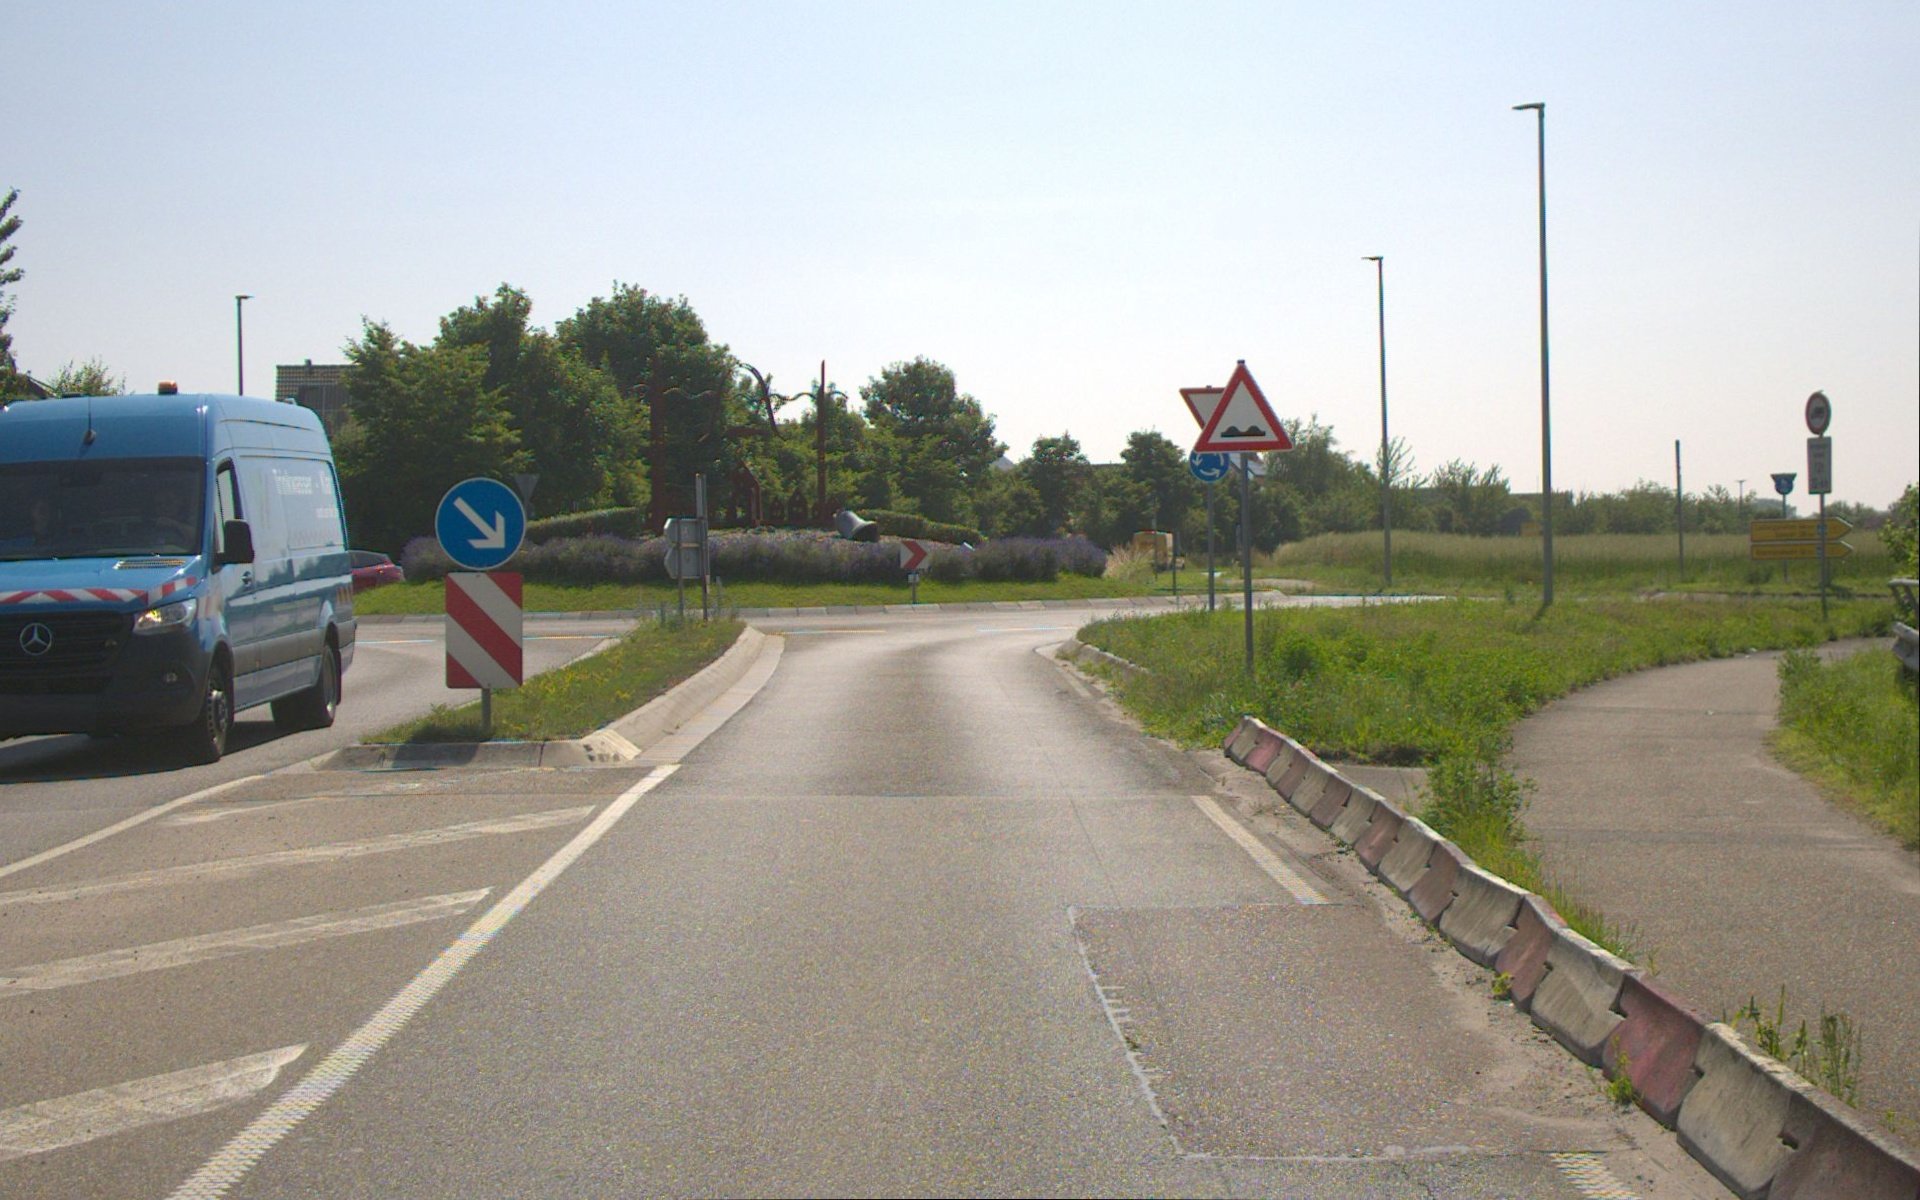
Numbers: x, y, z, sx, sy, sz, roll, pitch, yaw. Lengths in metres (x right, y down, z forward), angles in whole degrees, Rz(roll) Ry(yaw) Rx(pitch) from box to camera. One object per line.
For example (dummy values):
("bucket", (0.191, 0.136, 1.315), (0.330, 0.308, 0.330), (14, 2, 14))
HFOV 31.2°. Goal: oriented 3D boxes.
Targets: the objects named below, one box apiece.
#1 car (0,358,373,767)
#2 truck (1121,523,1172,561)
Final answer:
("car", (-6.062, -0.297, 25.984), (1.993, 2.602, 7.291), (-3, 1, -1))
("truck", (10.178, -3.146, 187.131), (1.995, 2.007, 3.998), (0, 1, 14))
